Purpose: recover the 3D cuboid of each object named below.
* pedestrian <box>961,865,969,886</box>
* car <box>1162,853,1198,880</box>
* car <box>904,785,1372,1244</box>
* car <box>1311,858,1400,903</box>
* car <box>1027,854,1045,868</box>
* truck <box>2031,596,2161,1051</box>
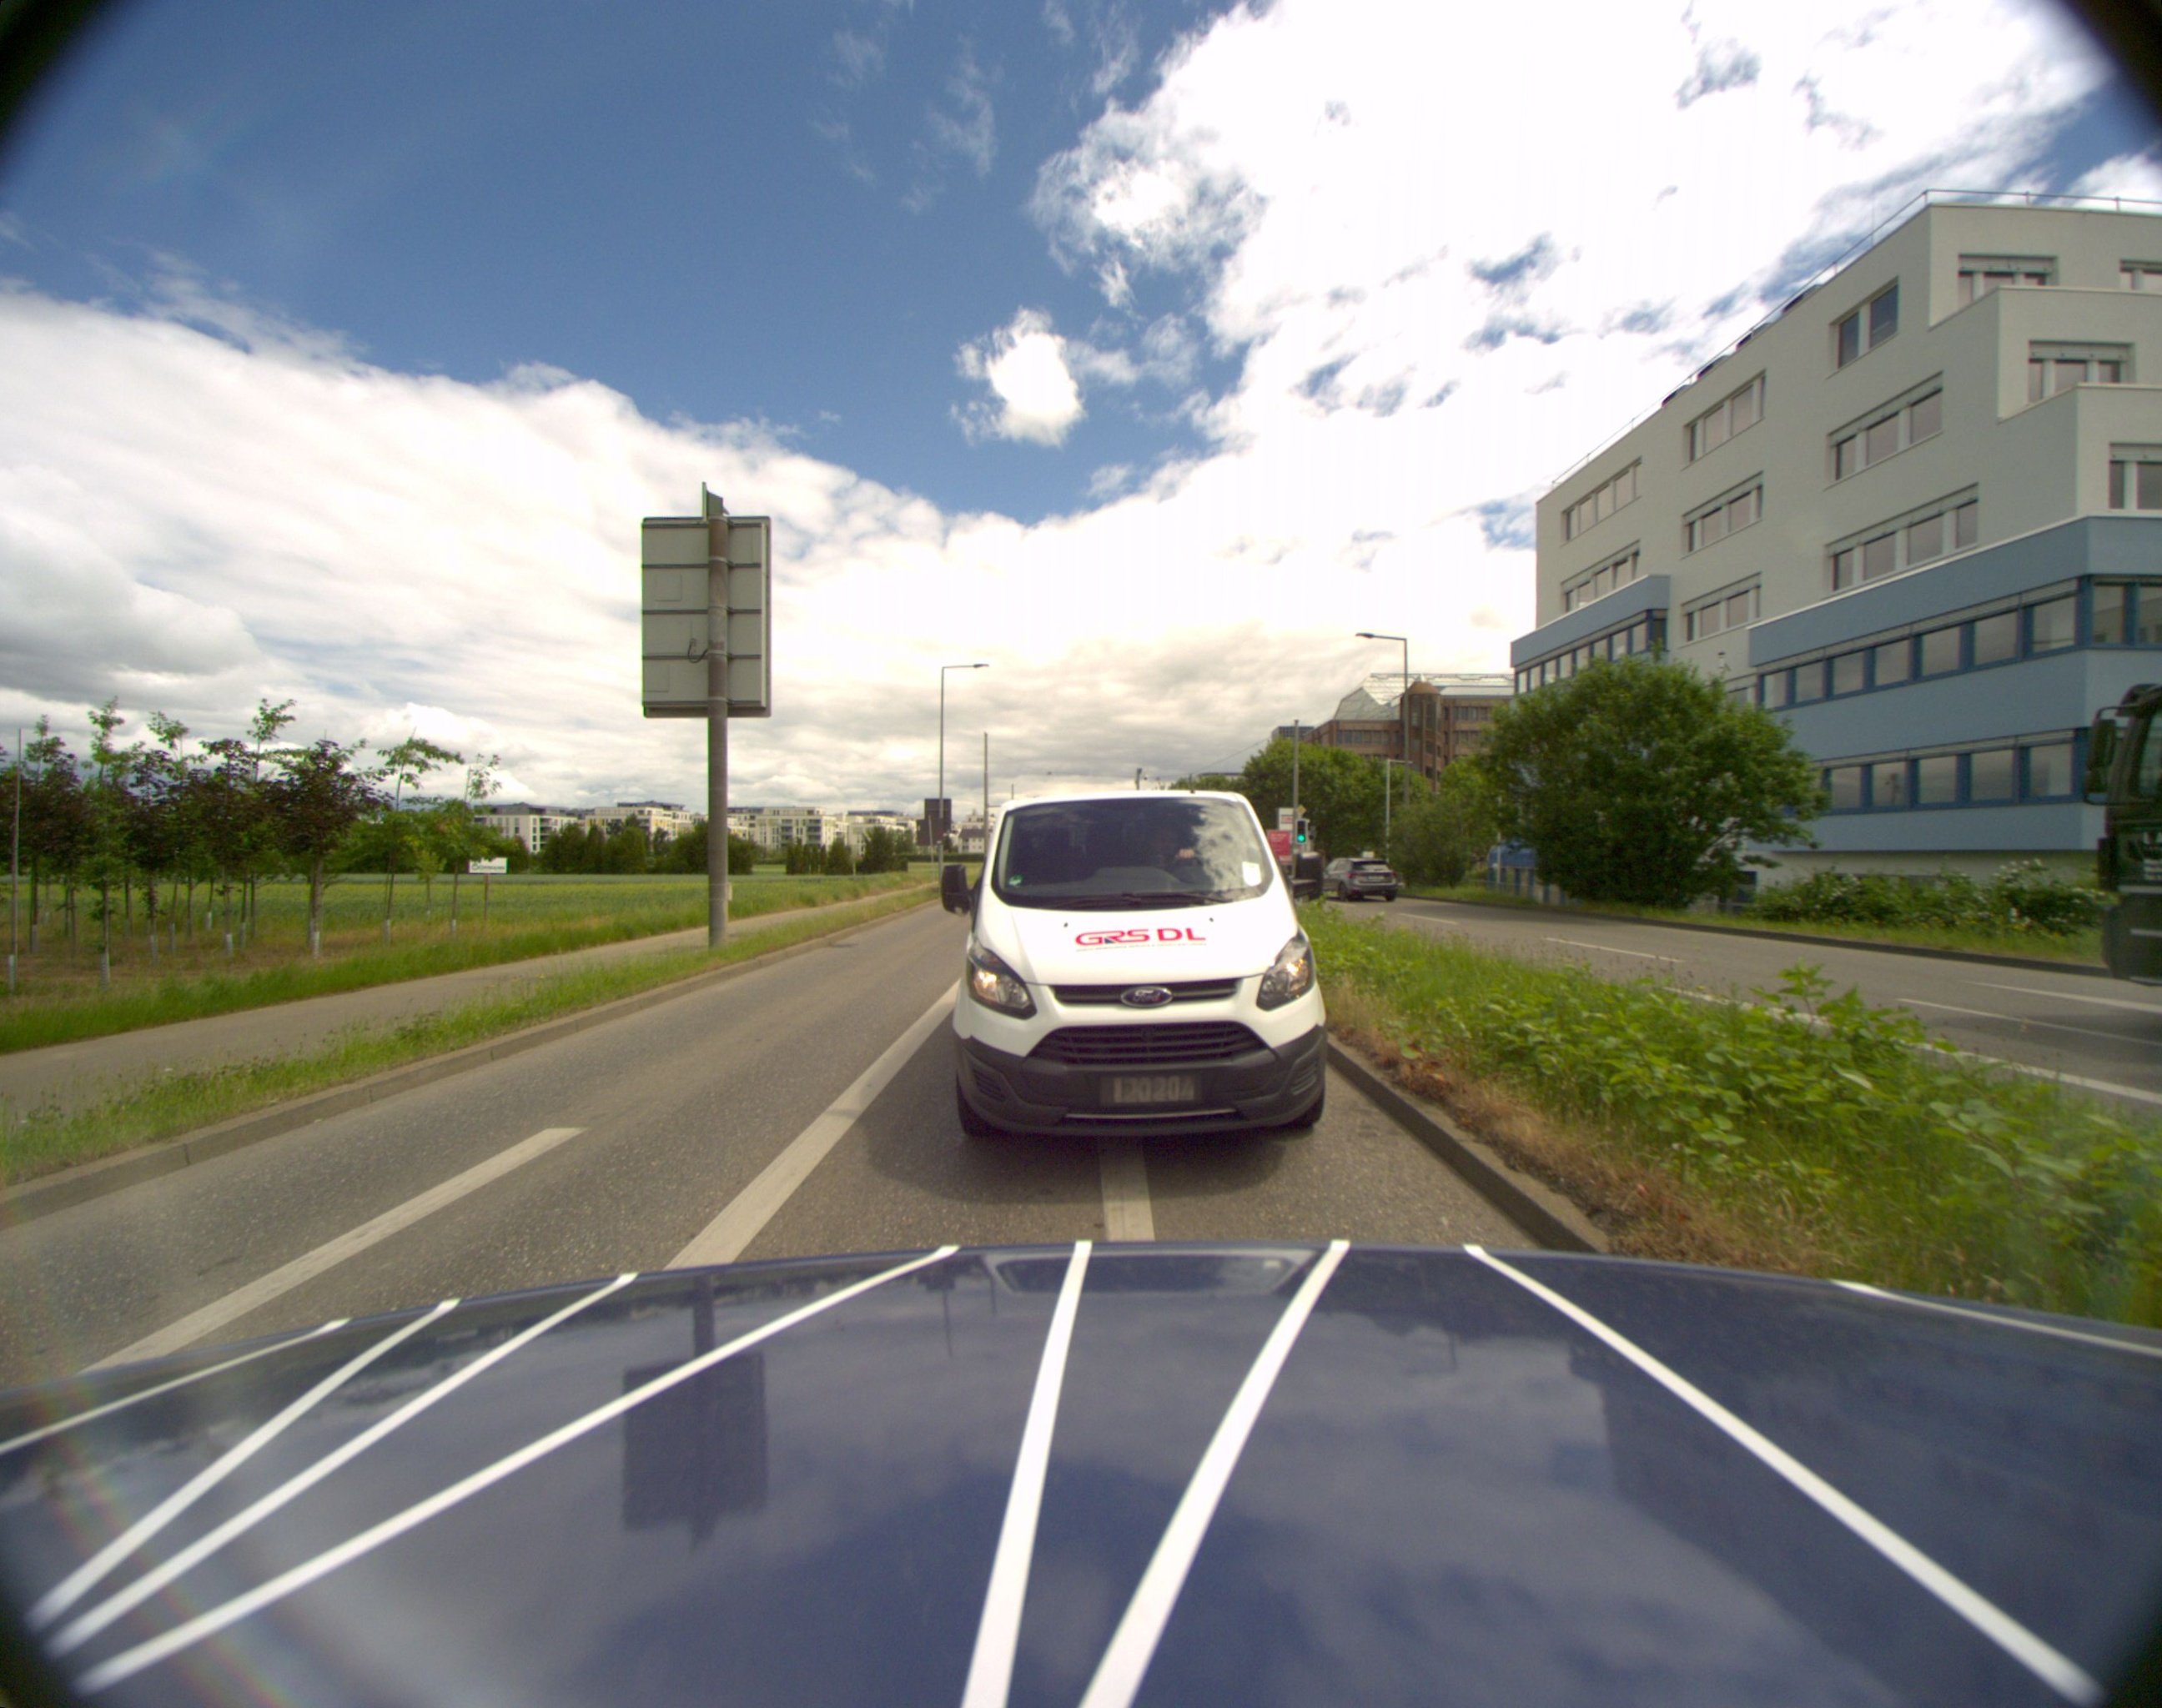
[{"bbox_3d":[-9.635,1.813,63.136,0.492,1.693,0.626,-2,1,-1],"label":"pedestrian"},{"bbox_3d":[5.659,0.682,43.780,1.693,1.422,3.635,-1,0,1],"label":"car"},{"bbox_3d":[0.282,0.694,5.805,1.968,1.938,5.055,-2,0,1],"label":"car"},{"bbox_3d":[9.195,0.841,25.726,1.558,1.375,3.779,-1,0,-1],"label":"car"},{"bbox_3d":[-4.834,0.711,82.059,1.683,1.410,3.739,-1,1,-1],"label":"car"},{"bbox_3d":[9.936,-0.272,1.892,3.176,3.497,9.526,-1,0,0],"label":"truck"}]
